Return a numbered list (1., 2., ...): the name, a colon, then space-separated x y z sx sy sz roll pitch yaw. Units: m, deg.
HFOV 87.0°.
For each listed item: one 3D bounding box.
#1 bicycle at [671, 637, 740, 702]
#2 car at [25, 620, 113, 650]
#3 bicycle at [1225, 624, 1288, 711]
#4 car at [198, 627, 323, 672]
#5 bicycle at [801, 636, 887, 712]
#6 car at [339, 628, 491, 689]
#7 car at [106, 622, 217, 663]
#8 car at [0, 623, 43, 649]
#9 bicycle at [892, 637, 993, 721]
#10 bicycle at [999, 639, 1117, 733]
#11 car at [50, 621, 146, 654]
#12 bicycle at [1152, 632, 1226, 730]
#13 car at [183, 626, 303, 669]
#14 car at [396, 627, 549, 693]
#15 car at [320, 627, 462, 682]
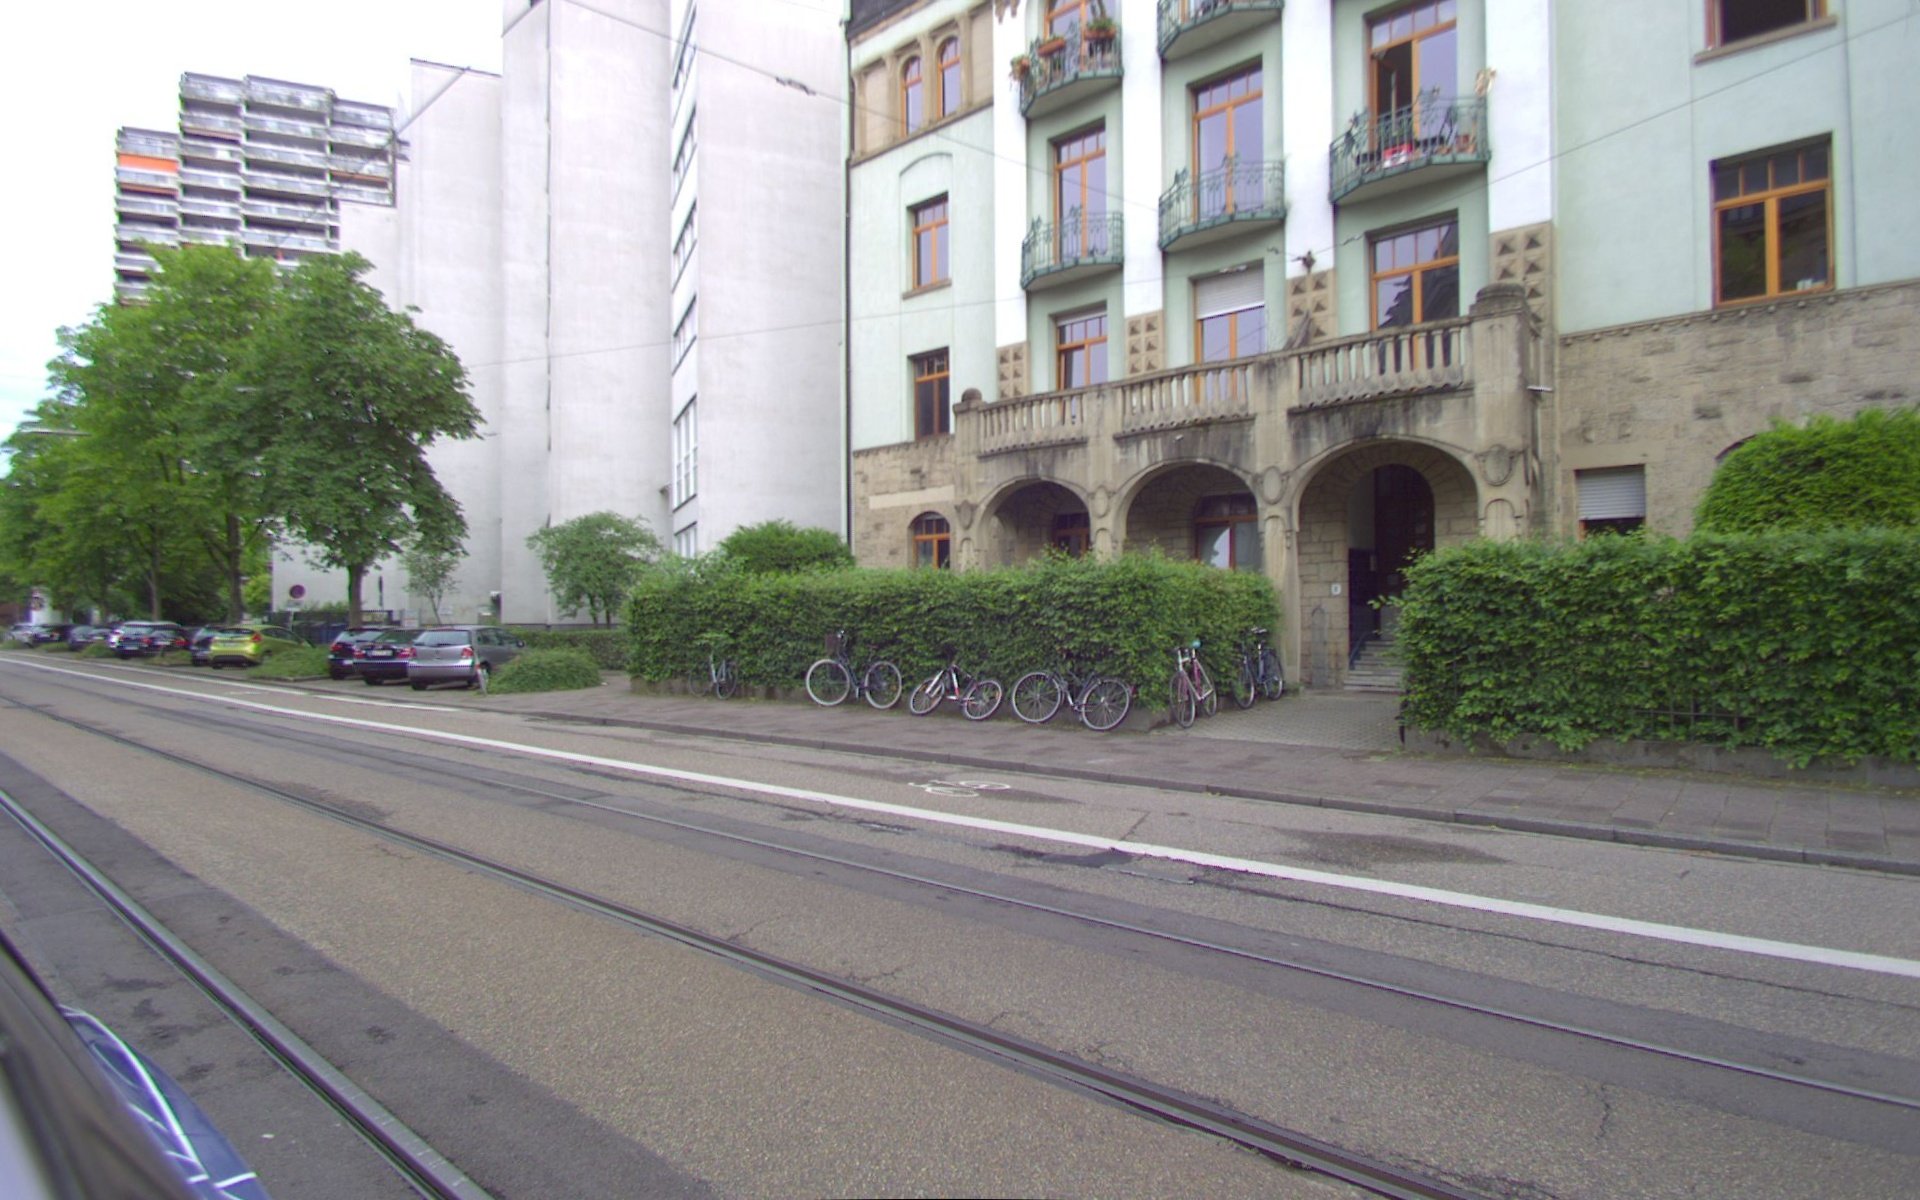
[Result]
1. bicycle: -4.445 1.189 17.619 1.546 1.092 0.356 -2 -2 41
2. car: -51.040 1.992 58.059 1.670 1.632 4.002 0 -1 -3
3. bicycle: 4.079 0.909 13.893 0.300 1.091 1.190 -2 1 42
4. car: -23.761 1.649 34.562 1.670 1.405 4.002 0 -1 -3
5. bicycle: -1.771 1.097 15.302 1.546 1.092 0.356 -2 -2 41
6. car: -13.729 1.420 25.782 1.672 1.413 3.998 0 -1 1
7. car: -33.589 1.743 42.716 1.670 1.632 4.002 0 -1 -3
8. car: -59.498 2.255 63.993 3.996 1.632 1.673 -1 -2 39
9. bicycle: -0.259 1.054 13.871 1.546 1.092 0.356 -2 -2 41
10. bicycle: 1.191 1.030 12.541 1.546 1.092 0.356 -2 -2 41
11. car: -44.093 1.890 51.873 1.670 1.632 4.002 0 -1 -3
12. bicycle: 2.820 0.966 12.406 0.300 1.091 1.190 -2 1 42
13. car: -25.914 1.675 36.735 1.670 1.453 4.002 0 -1 -3
14. car: -11.438 1.371 24.061 1.672 1.413 3.998 0 -1 1
15. car: -15.727 1.472 28.227 1.672 1.413 3.998 0 -1 1
